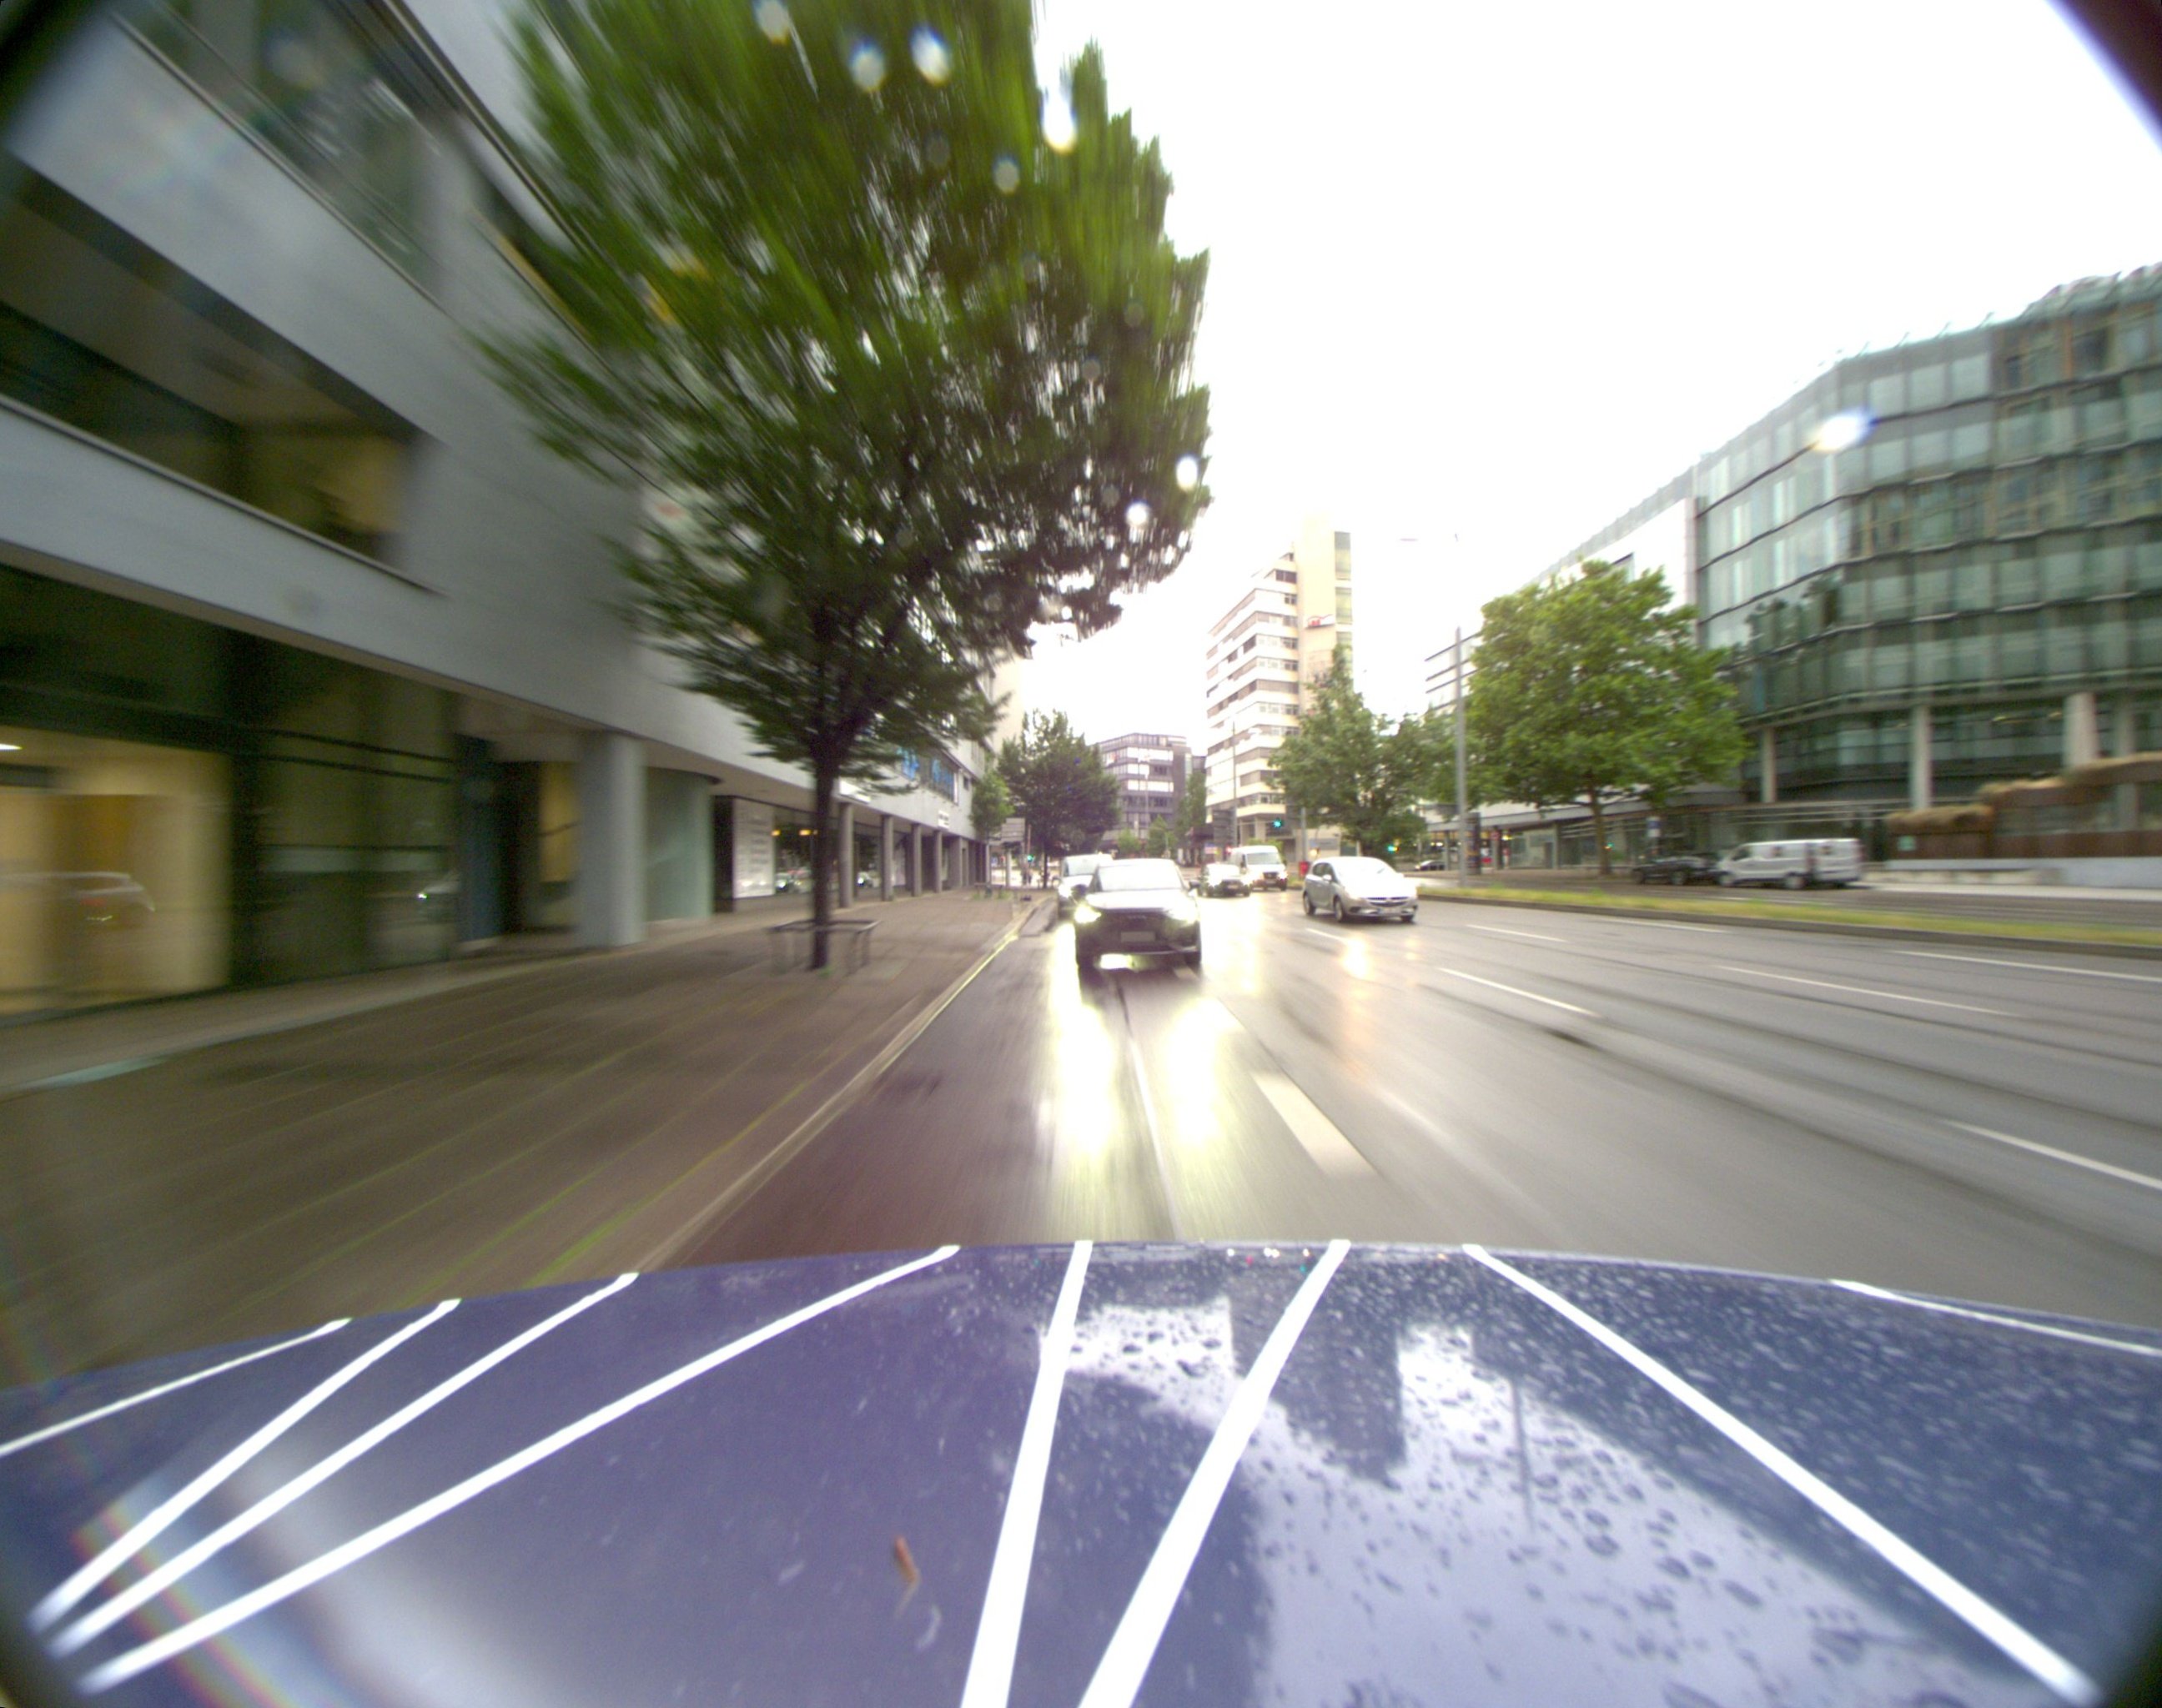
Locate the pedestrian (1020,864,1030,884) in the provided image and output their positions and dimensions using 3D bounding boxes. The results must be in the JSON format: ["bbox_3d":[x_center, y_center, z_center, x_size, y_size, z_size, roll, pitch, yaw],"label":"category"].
[{"bbox_3d":[-5.016,1.776,68.412,0.793,1.771,0.895,-2,-1,-2],"label":"pedestrian"}]

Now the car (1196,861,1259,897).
[{"bbox_3d":[6.352,1.052,33.390,1.904,1.393,4.241,-2,0,0],"label":"car"}]

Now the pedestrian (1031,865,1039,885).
[{"bbox_3d":[-4.221,1.943,70.265,0.641,1.771,0.880,-2,-1,1],"label":"pedestrian"}]

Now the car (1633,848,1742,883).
[{"bbox_3d":[28.764,0.541,36.241,1.802,1.520,4.287,-2,0,1],"label":"car"}]

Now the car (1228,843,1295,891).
[{"bbox_3d":[9.699,0.673,41.327,2.259,2.371,5.720,-2,0,1],"label":"car"}]

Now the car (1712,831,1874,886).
[{"bbox_3d":[28.746,0.180,30.948,1.998,2.002,4.916,-2,0,1],"label":"car"}]

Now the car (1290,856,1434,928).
[{"bbox_3d":[6.559,0.818,18.254,1.774,1.470,4.127,-2,0,-2],"label":"car"}]

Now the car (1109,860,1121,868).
[{"bbox_3d":[6.762,2.006,151.774,1.997,1.576,5.172,-2,0,6],"label":"car"}]

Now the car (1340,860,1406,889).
[{"bbox_3d":[17.517,1.189,45.871,1.830,1.622,4.873,-2,0,-4],"label":"car"}]

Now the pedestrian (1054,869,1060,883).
[{"bbox_3d":[-2.869,2.573,90.485,0.654,1.588,1.058,-2,0,-5],"label":"pedestrian"}]

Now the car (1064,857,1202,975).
[{"bbox_3d":[1.031,0.852,12.393,1.800,1.543,4.391,-2,0,9],"label":"car"}]

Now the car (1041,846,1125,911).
[{"bbox_3d":[-0.067,0.746,25.200,2.061,1.881,5.045,-2,0,-8],"label":"car"}]

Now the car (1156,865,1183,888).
[{"bbox_3d":[6.624,1.658,57.063,1.784,1.499,4.001,-2,0,4],"label":"car"}]
